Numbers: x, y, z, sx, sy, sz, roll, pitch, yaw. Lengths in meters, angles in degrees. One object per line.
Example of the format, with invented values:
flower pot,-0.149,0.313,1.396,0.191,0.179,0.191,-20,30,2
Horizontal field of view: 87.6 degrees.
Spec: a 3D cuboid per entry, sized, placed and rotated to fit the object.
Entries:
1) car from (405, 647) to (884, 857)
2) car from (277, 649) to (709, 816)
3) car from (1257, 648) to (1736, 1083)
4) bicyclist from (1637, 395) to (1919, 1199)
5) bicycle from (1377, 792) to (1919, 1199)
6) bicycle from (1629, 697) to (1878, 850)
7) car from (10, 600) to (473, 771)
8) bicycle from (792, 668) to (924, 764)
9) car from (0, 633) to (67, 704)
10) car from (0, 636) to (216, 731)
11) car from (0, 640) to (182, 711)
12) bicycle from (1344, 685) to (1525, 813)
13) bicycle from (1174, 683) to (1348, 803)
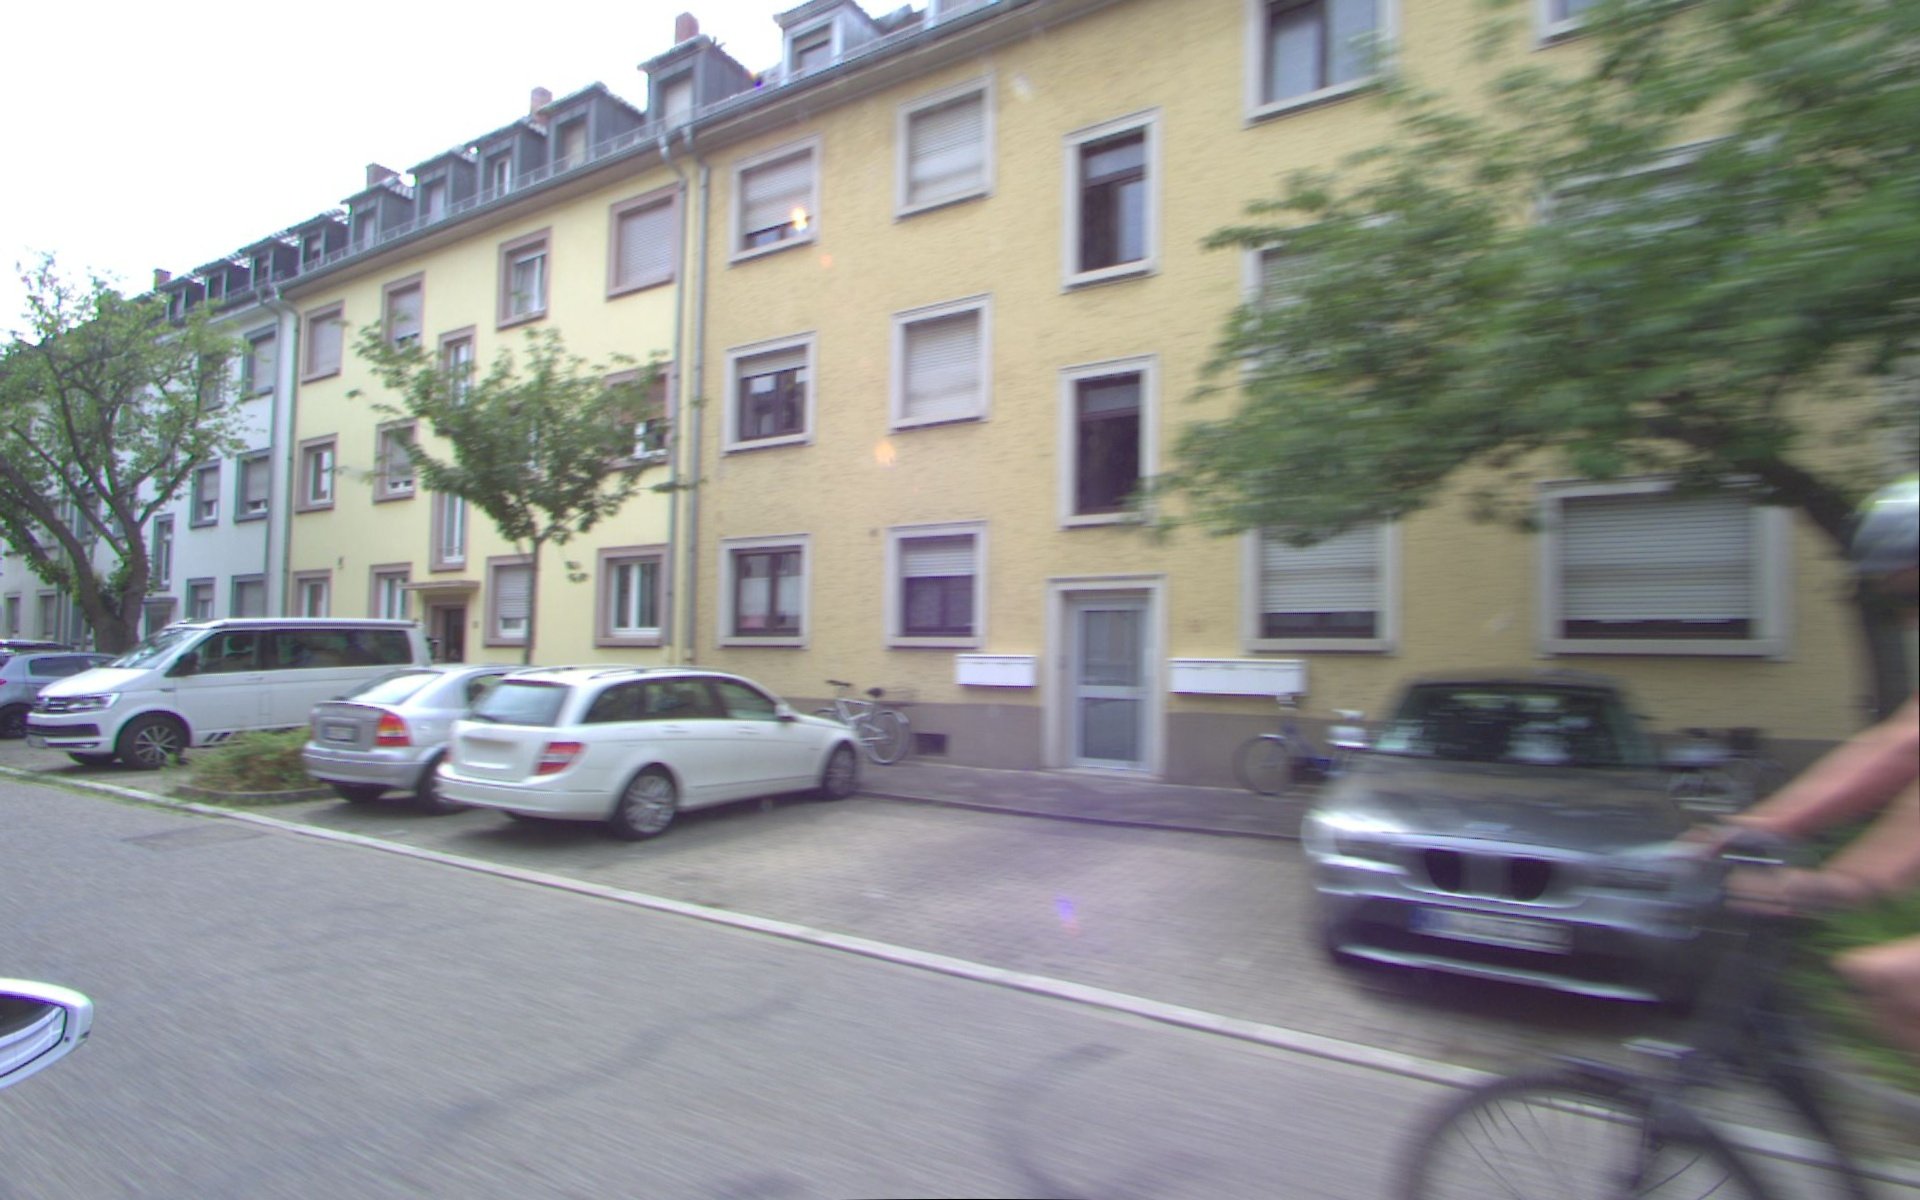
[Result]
car,-2.795,1.262,10.005,1.823,1.529,4.542,-1,-2,30
car,-4.934,1.297,11.187,1.823,1.432,4.088,-1,-2,30
car,3.346,1.135,6.189,1.824,1.618,4.301,-1,-2,32
bicyclist,1.745,0.608,1.661,0.972,1.791,0.691,-1,-4,32
bicycle,1.757,1.044,1.628,1.909,1.242,0.691,-1,-4,32
bicycle,6.754,1.445,8.621,1.611,1.154,0.478,-1,-2,31
car,-10.213,1.124,14.829,2.041,2.049,5.227,-1,-2,28
bicycle,-1.425,1.572,13.845,1.848,1.215,0.585,-1,-2,31
car,-22.344,1.508,21.848,1.615,1.555,3.981,-1,-2,32
car,-16.187,1.469,18.540,1.788,1.594,3.473,-1,-2,31
car,-19.671,1.603,21.844,1.615,1.438,3.981,-1,-2,32
bicycle,4.766,1.461,10.096,1.611,1.154,0.478,-1,-2,31
bicycle,3.249,1.511,10.862,1.730,1.154,0.536,-1,-2,31
